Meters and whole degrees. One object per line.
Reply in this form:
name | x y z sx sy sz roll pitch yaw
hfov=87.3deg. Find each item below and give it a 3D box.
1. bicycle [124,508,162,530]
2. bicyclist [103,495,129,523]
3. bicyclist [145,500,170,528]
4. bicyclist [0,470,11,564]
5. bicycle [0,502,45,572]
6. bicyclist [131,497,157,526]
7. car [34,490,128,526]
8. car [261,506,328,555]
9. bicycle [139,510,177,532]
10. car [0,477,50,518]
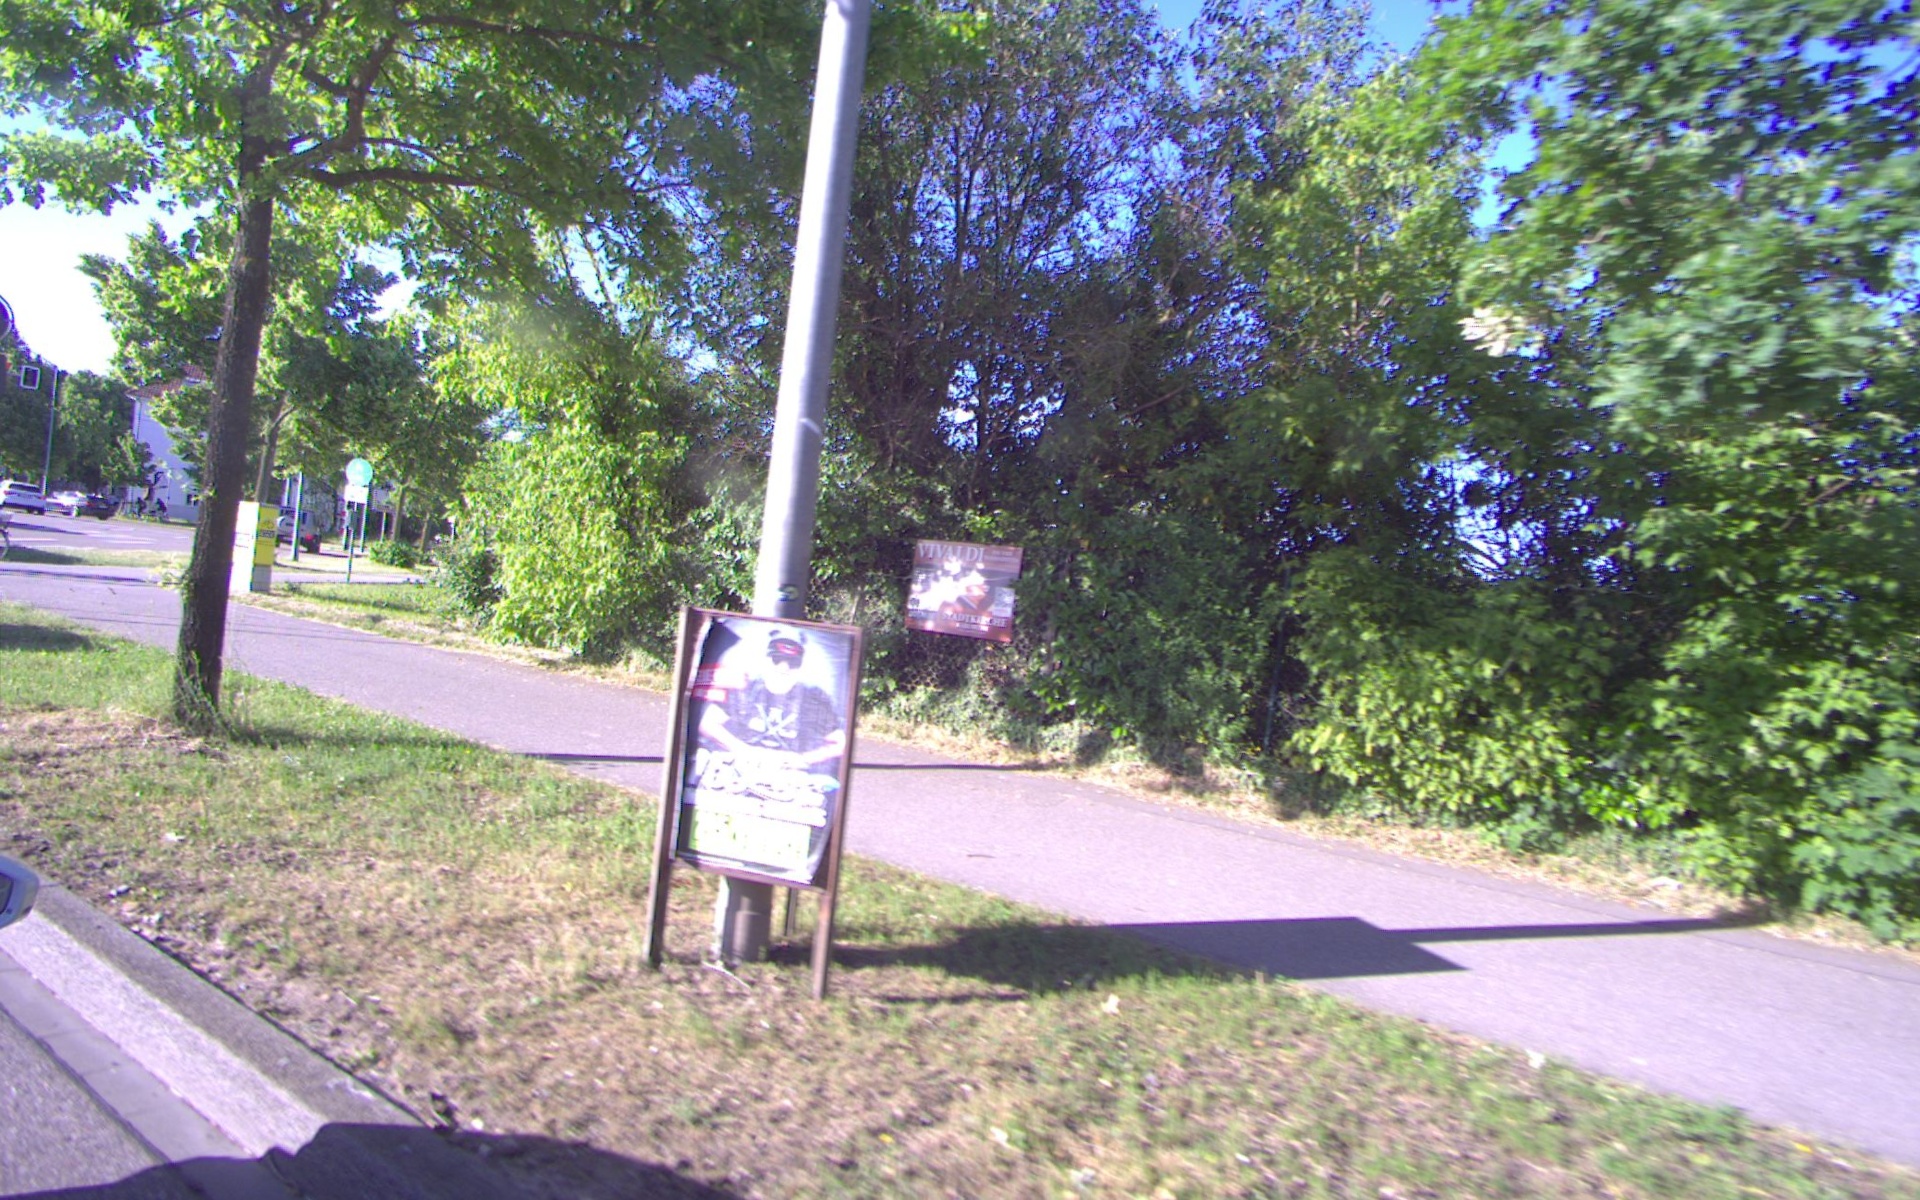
bicycle | -58.601 -5.808 72.152 2.167 1.280 0.819 6 -1 11
bicyclist | -61.791 -6.665 73.656 1.007 1.874 0.885 7 -1 -4
bicyclist | -58.401 -6.275 73.244 1.006 1.874 0.813 6 -1 11
bicyclist | -16.782 -1.454 16.730 0.859 1.582 1.087 5 1 9
bicycle | -16.815 -1.121 16.762 0.859 1.170 2.217 5 1 9
bicyclist | -58.532 -6.338 72.151 1.006 1.874 0.813 6 -1 11
car | -53.833 -5.630 61.632 4.324 1.558 2.001 7 0 10
car | -30.933 -3.212 46.680 1.988 1.920 4.701 7 -1 -40
bicycle | -58.402 -5.738 73.236 2.167 1.280 0.819 6 -1 11
car | -45.760 -5.016 48.807 4.349 1.659 1.989 7 1 43
